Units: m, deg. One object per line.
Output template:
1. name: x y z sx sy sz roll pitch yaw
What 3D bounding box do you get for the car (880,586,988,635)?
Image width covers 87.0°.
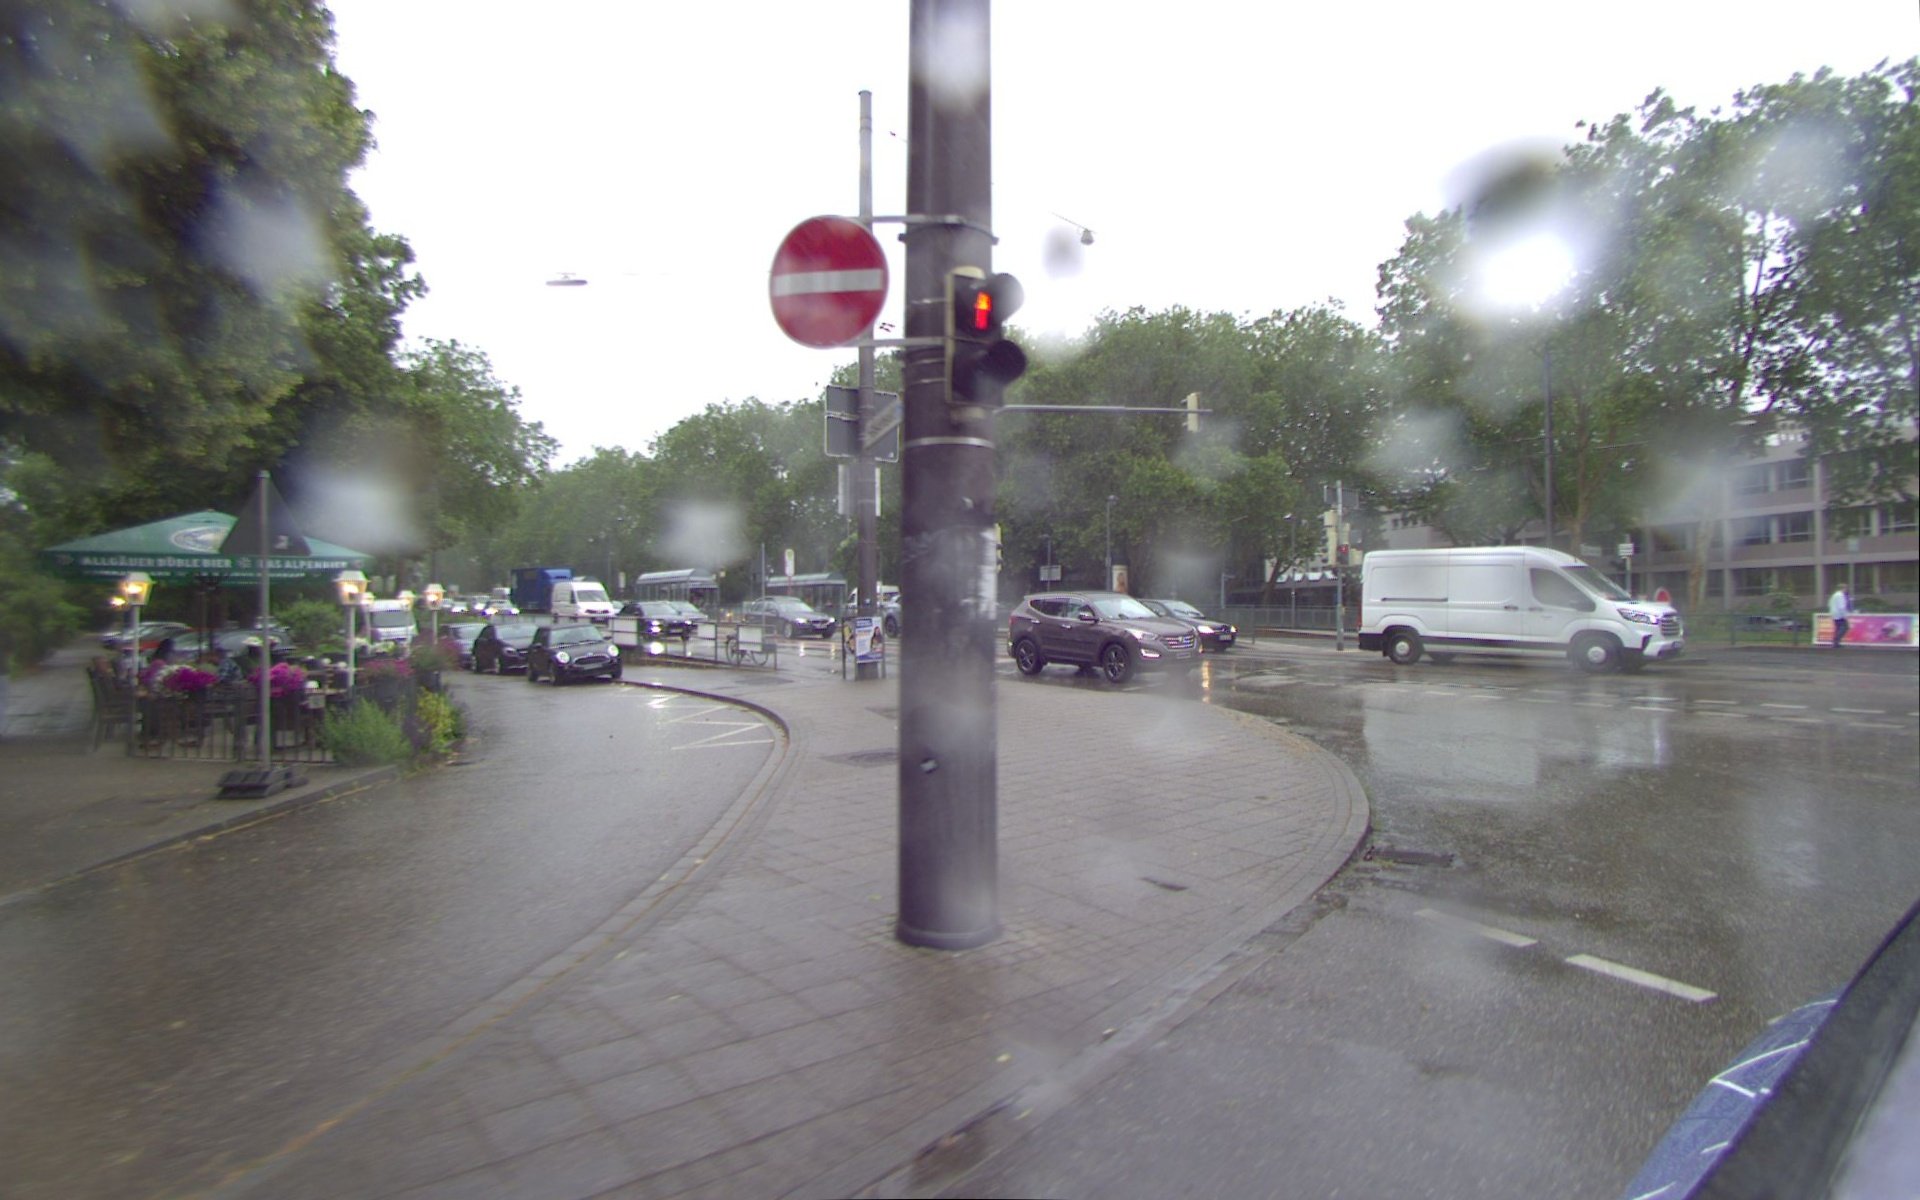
1. car: -1.002 0.388 36.985 1.815 1.655 4.245 -2 0 -36

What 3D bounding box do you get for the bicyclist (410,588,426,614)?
1. bicyclist: -35.848 0.061 66.958 0.726 1.677 0.875 0 -2 -43

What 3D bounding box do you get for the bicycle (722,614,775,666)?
1. bicycle: -5.127 0.950 24.479 0.416 1.183 1.790 -3 1 -39

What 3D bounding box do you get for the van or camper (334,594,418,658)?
1. van or camper: -25.904 1.139 44.781 2.292 2.624 6.089 -1 -1 -39

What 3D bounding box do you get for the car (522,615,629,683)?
1. car: -9.762 1.181 25.582 1.621 1.519 3.514 -2 0 -36

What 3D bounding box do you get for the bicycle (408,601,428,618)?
1. bicycle: -35.884 0.613 66.975 0.728 1.086 1.862 0 -2 -42

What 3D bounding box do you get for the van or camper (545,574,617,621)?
1. van or camper: -21.853 -0.100 58.212 2.107 2.530 5.704 -2 0 -40

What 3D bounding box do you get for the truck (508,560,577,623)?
1. truck: -30.674 -0.539 74.148 2.375 4.331 8.344 -1 0 -38

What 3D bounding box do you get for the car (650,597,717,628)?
1. car: -13.092 0.592 47.762 1.607 1.375 4.245 -2 0 -36

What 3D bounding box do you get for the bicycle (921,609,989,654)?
1. bicycle: -0.155 0.825 27.498 0.804 1.101 1.997 -2 2 -37

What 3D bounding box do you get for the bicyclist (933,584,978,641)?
1. bicyclist: -0.122 0.329 27.635 0.911 1.488 0.805 -2 1 -38

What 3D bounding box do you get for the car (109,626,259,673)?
1. car: -28.871 1.814 37.812 1.687 1.488 4.260 -2 0 19

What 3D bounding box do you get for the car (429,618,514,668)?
1. car: -16.401 1.403 33.884 1.701 1.488 4.212 -2 0 -38

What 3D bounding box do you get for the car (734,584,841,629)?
1. car: -6.736 0.288 39.010 1.912 1.613 5.333 0 -1 -36

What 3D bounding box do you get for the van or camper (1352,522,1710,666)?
1. van or camper: 11.341 -0.070 20.636 2.143 2.502 5.964 -1 0 -38

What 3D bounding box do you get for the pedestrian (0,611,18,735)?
1. pedestrian: -13.106 0.979 13.613 0.540 1.666 0.388 2 -3 -37

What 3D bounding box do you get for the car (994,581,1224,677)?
1. car: 2.860 0.552 20.507 1.878 1.667 4.679 -2 0 -35

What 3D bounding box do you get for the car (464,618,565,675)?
1. car: -13.225 1.320 29.906 1.720 1.482 4.211 -2 0 -38

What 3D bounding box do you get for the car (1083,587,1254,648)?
1. car: 5.664 0.487 28.016 1.755 1.532 4.551 -2 0 -39

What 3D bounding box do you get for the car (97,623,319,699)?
1. car: -17.729 1.390 24.104 1.834 1.527 3.982 -2 0 15

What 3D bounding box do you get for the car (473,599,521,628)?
1. car: -31.480 0.879 68.788 1.965 1.780 3.995 -3 2 -39

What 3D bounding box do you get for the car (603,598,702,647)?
1. car: -11.940 0.874 39.094 1.944 1.709 4.685 -2 0 -40

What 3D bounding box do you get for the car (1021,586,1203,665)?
1. car: 3.717 0.625 25.316 1.942 1.763 4.261 -2 0 -40

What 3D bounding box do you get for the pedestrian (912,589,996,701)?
1. pedestrian: -0.077 0.694 16.012 1.089 1.688 0.994 -2 0 13

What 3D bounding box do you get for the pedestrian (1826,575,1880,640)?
1. pedestrian: 22.578 0.190 25.601 0.707 1.631 0.732 -1 -1 13
